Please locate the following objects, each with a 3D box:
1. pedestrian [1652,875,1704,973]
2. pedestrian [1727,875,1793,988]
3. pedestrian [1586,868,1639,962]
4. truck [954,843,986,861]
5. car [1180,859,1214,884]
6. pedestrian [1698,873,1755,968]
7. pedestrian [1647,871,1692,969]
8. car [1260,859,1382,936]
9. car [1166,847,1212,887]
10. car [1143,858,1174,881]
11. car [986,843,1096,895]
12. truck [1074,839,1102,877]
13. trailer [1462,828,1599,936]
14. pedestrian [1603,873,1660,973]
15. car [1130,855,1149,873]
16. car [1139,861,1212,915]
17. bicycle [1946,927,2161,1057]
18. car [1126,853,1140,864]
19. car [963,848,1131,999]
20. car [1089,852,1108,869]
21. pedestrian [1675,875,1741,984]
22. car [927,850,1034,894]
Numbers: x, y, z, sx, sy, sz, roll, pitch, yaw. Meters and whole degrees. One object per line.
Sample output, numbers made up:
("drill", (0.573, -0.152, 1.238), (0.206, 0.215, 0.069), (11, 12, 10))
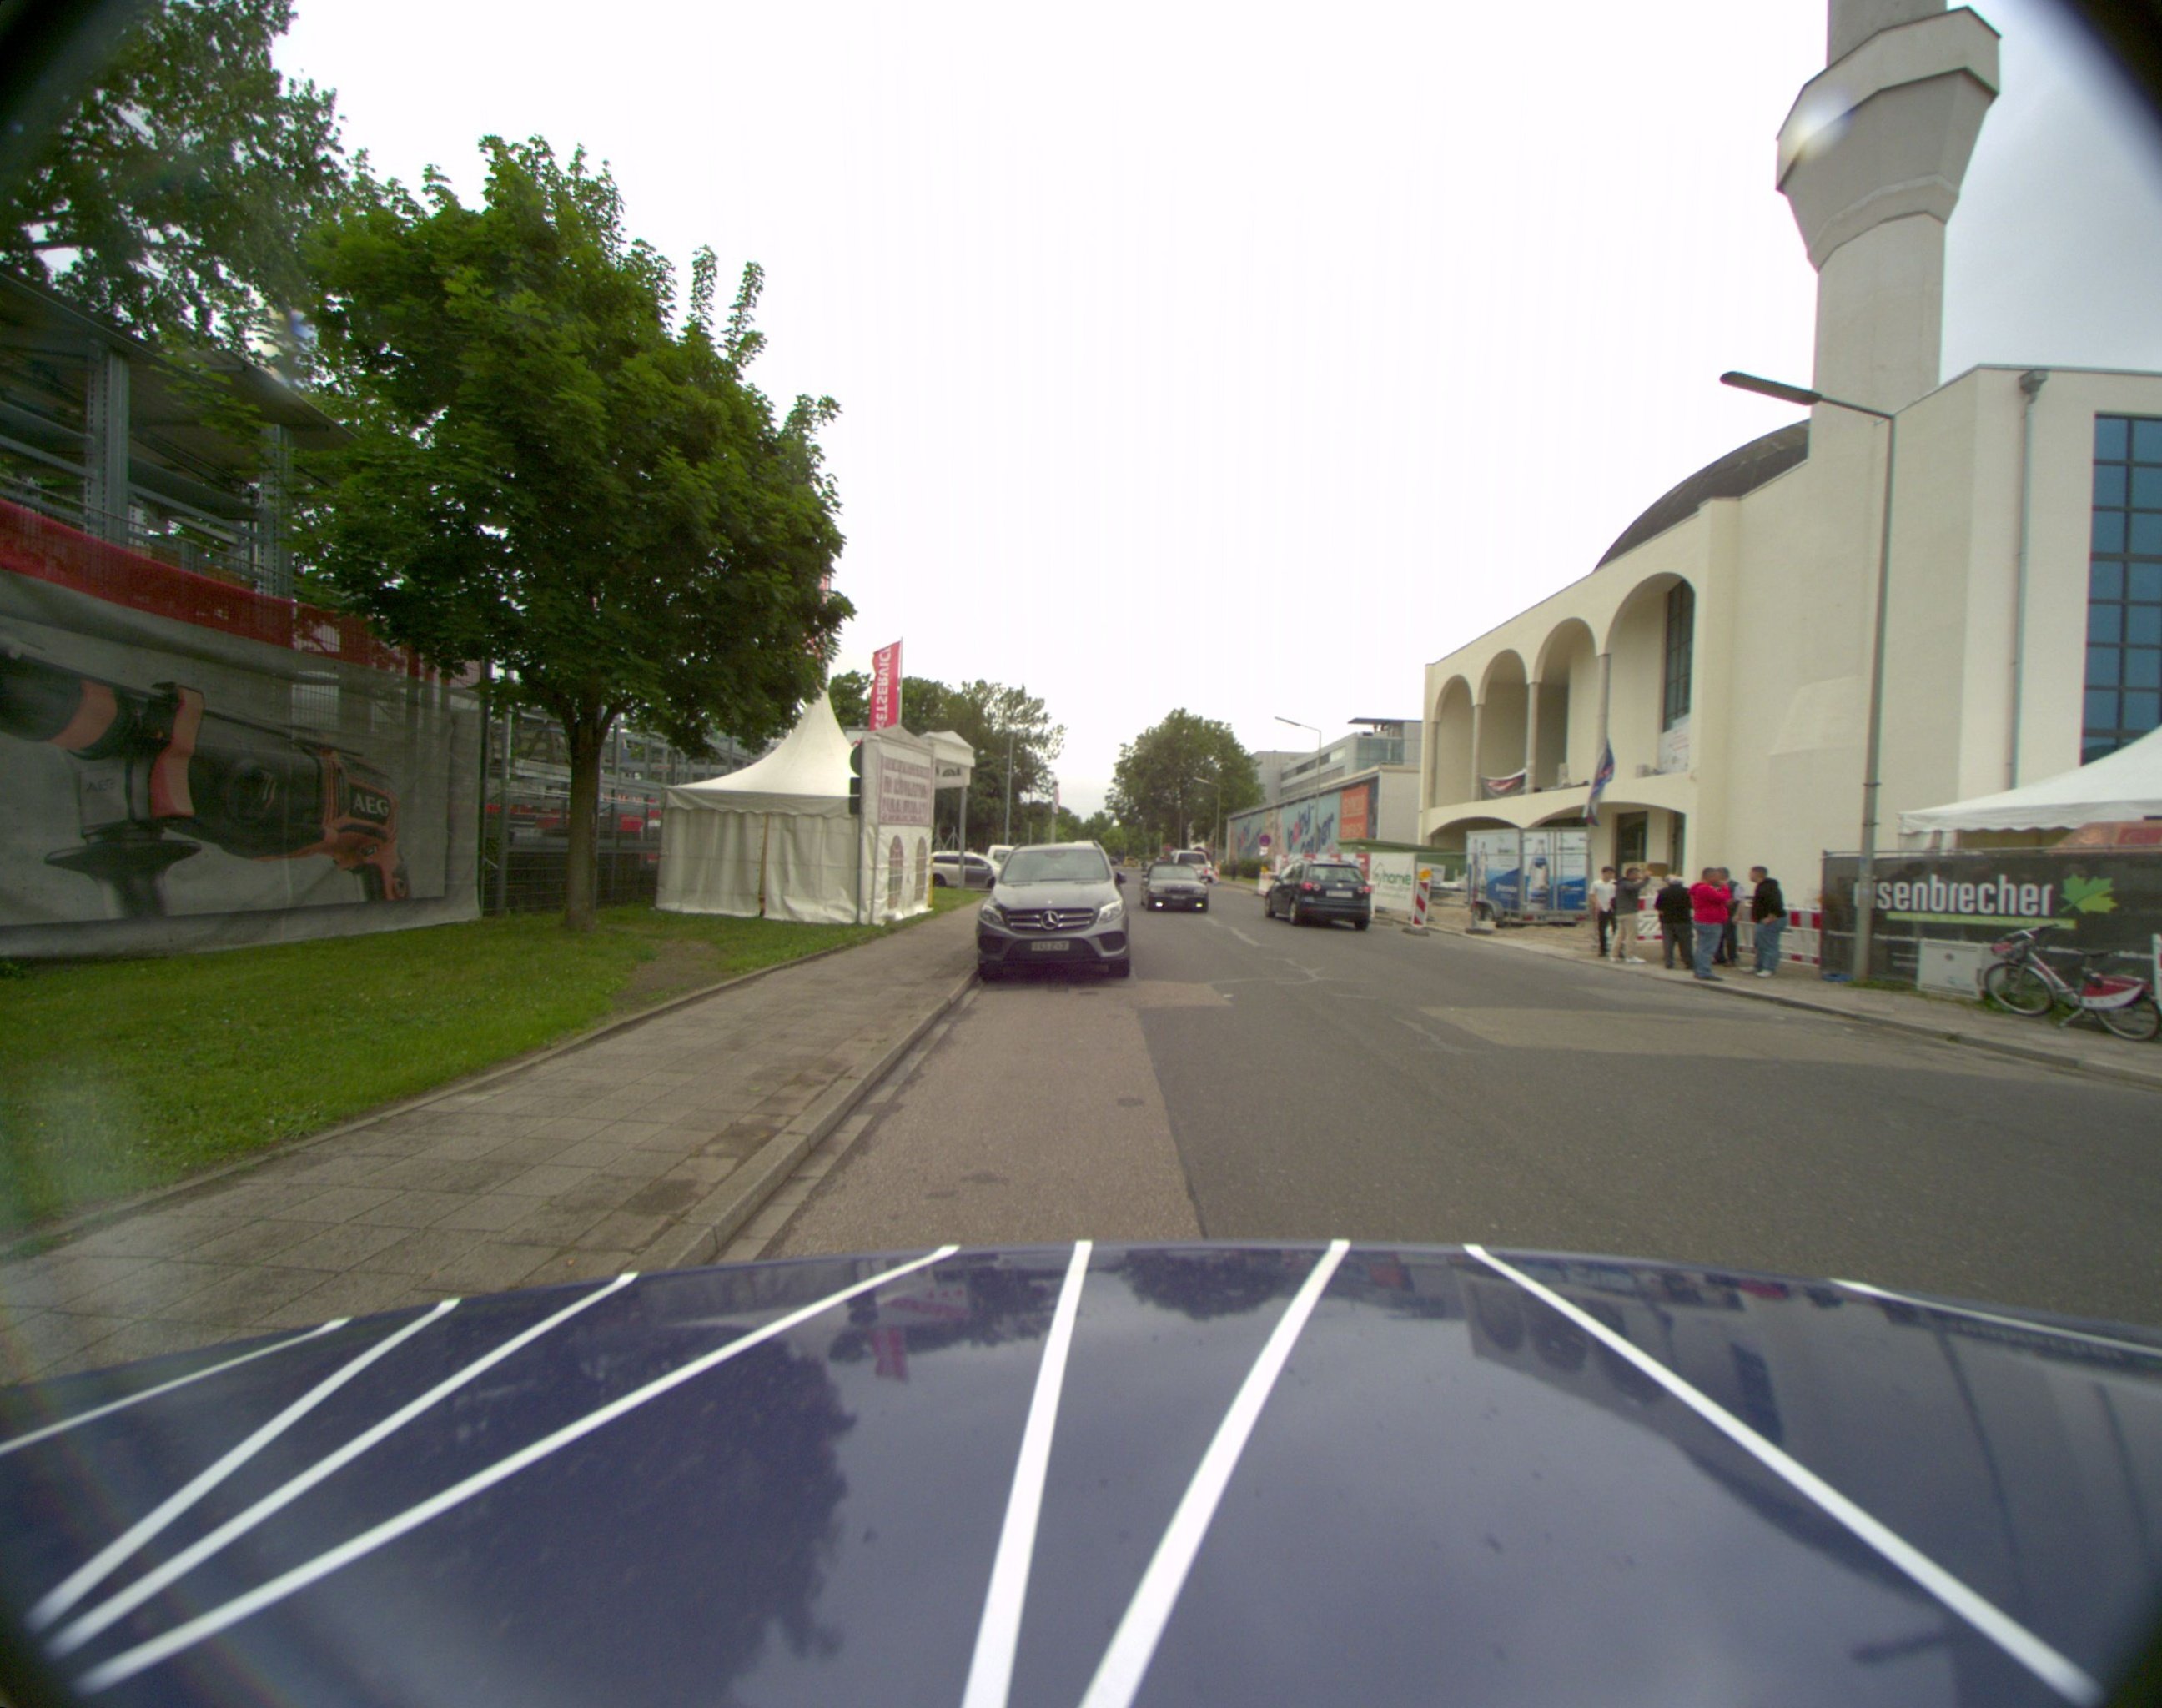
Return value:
("pedestrian", (10.203, 1.178, 12.989), (0.492, 1.602, 0.570), (1, 1, -44))
("pedestrian", (10.729, 1.198, 12.012), (0.689, 1.707, 0.694), (0, -2, -45))
("pedestrian", (10.251, 1.153, 14.666), (0.492, 1.739, 0.689), (1, 1, -44))
("truck", (-15.477, -0.273, 106.085), (1.994, 2.383, 4.009), (3, 1, 41))
("car", (8.540, 1.275, 56.287), (1.929, 1.565, 4.150), (5, 0, 2))
("pedestrian", (11.228, 1.139, 13.231), (0.540, 1.602, 0.491), (0, 1, 7))
("pedestrian", (10.764, 1.189, 13.898), (0.492, 1.739, 0.527), (1, 1, -44))
("car", (5.750, 0.972, 18.716), (1.733, 1.562, 3.946), (3, 0, 1))
("car", (5.923, 0.658, 42.295), (1.931, 2.002, 4.955), (2, 1, 2))
("car", (6.211, 1.215, 61.344), (1.964, 1.652, 4.654), (4, 0, 1))
("car", (-1.647, 0.606, 32.084), (4.380, 1.797, 1.800), (4, 1, 0))
("truck", (0.478, 0.253, 53.665), (1.853, 2.597, 4.000), (-1, 0, 1))
("trailer", (11.814, 0.683, 20.238), (1.802, 2.591, 3.192), (2, 0, 4))
("pedestrian", (9.991, 1.234, 13.798), (0.492, 1.739, 0.689), (1, 1, -44))
("car", (6.800, 1.166, 88.190), (1.998, 2.002, 4.000), (0, 1, 1))
("car", (2.720, 0.942, 22.628), (1.750, 1.351, 4.137), (0, 1, 1))
("bicycle", (10.914, 1.465, 8.454), (0.545, 1.071, 1.902), (2, 1, 7))
("car", (8.055, 0.702, 118.179), (1.929, 1.565, 4.000), (3, 0, 2))
("car", (-0.330, 0.804, 11.057), (1.913, 1.731, 4.480), (-1, 0, 2))
("car", (1.931, 0.693, 84.263), (1.998, 1.739, 4.000), (2, 0, 2))
("pedestrian", (9.604, 1.139, 11.648), (0.491, 1.602, 0.539), (3, 1, -27))
("car", (-3.798, 0.667, 28.978), (3.684, 1.575, 1.778), (0, 1, 9))
